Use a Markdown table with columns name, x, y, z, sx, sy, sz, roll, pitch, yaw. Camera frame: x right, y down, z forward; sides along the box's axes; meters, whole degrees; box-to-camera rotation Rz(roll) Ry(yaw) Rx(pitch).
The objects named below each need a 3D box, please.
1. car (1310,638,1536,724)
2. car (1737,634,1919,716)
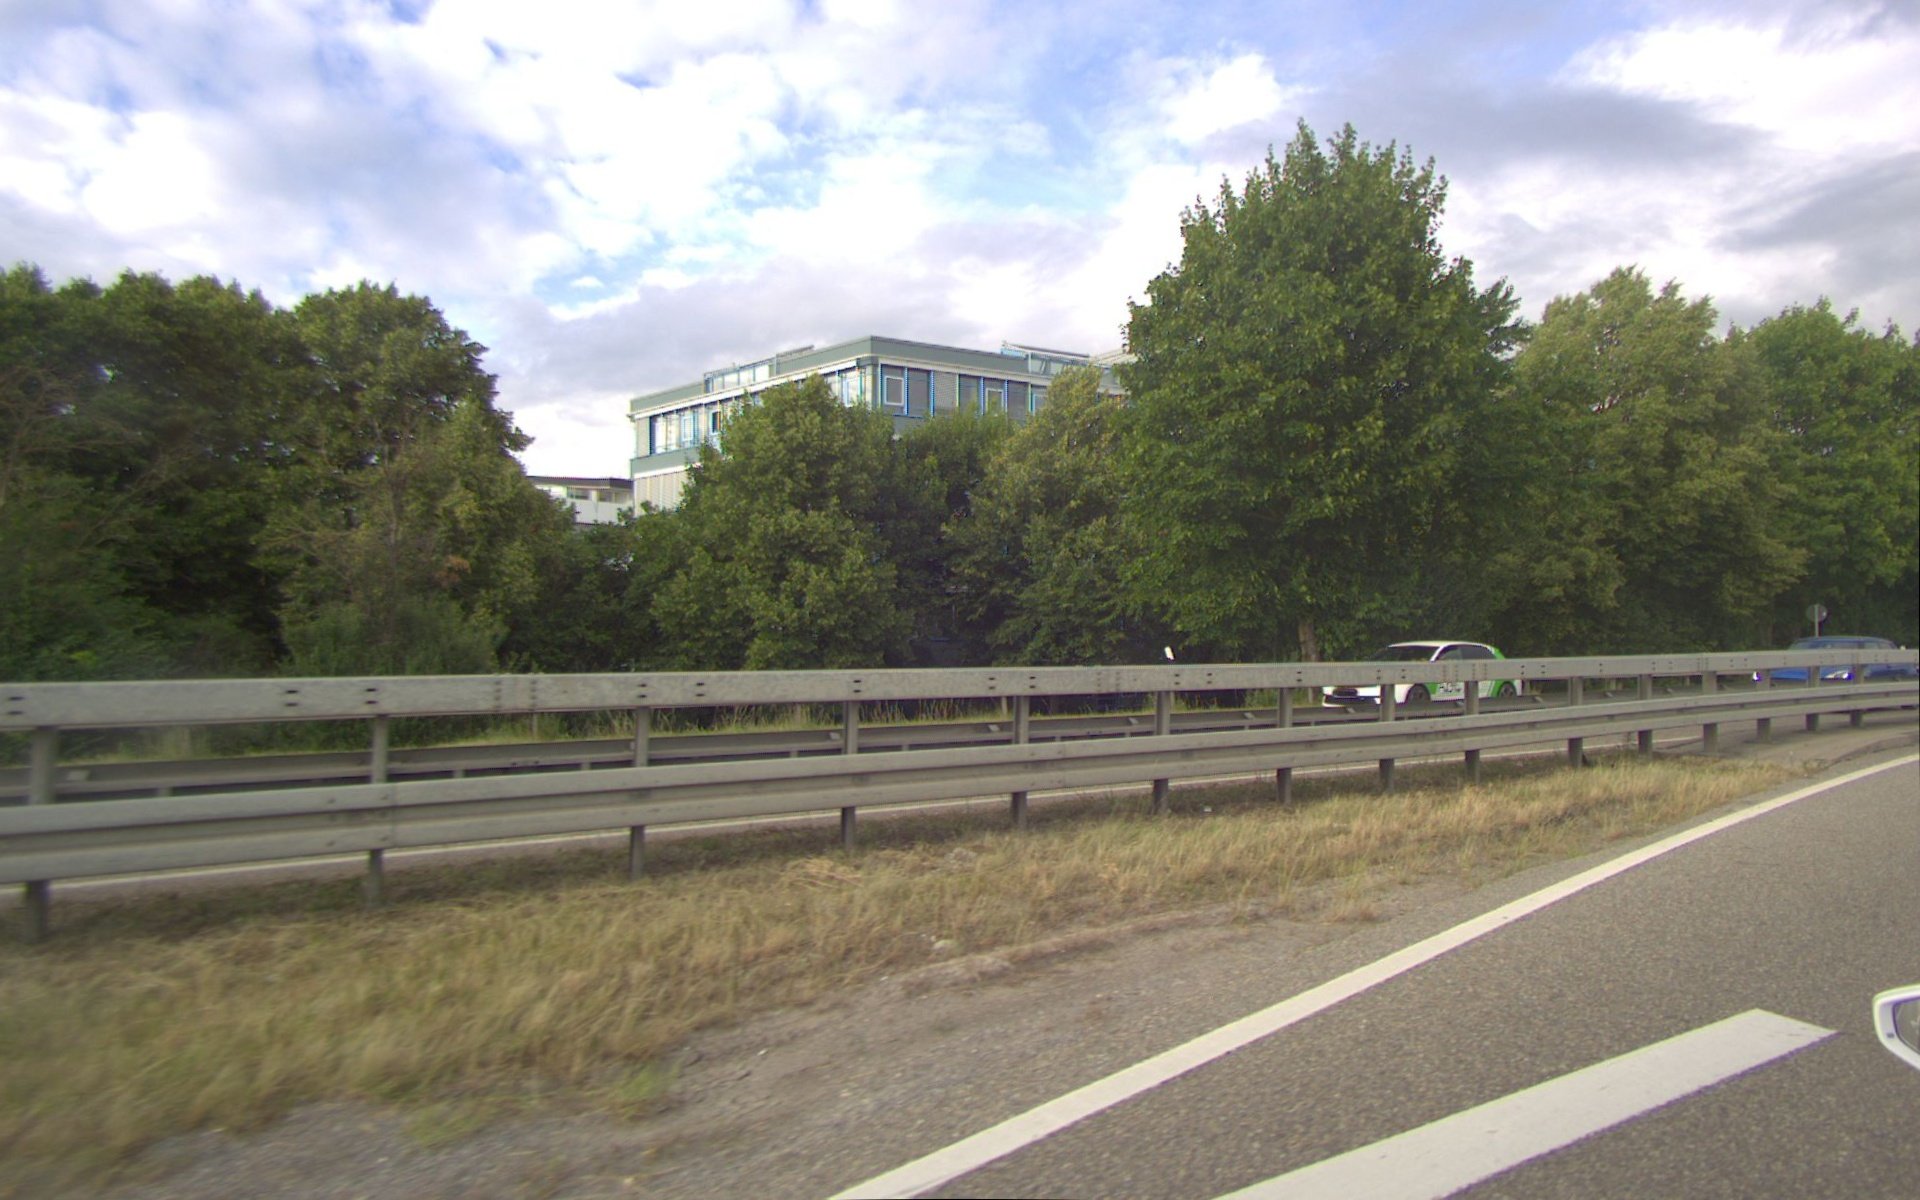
| name | x | y | z | sx | sy | sz | roll | pitch | yaw |
| --- | --- | --- | --- | --- | --- | --- | --- | --- | --- |
| car | 8.979 | 1.479 | 19.394 | 4.406 | 1.432 | 1.751 | 1 | -1 | -30 |
| car | 17.677 | 1.450 | 20.399 | 3.668 | 1.487 | 1.761 | 1 | -1 | -30 |
